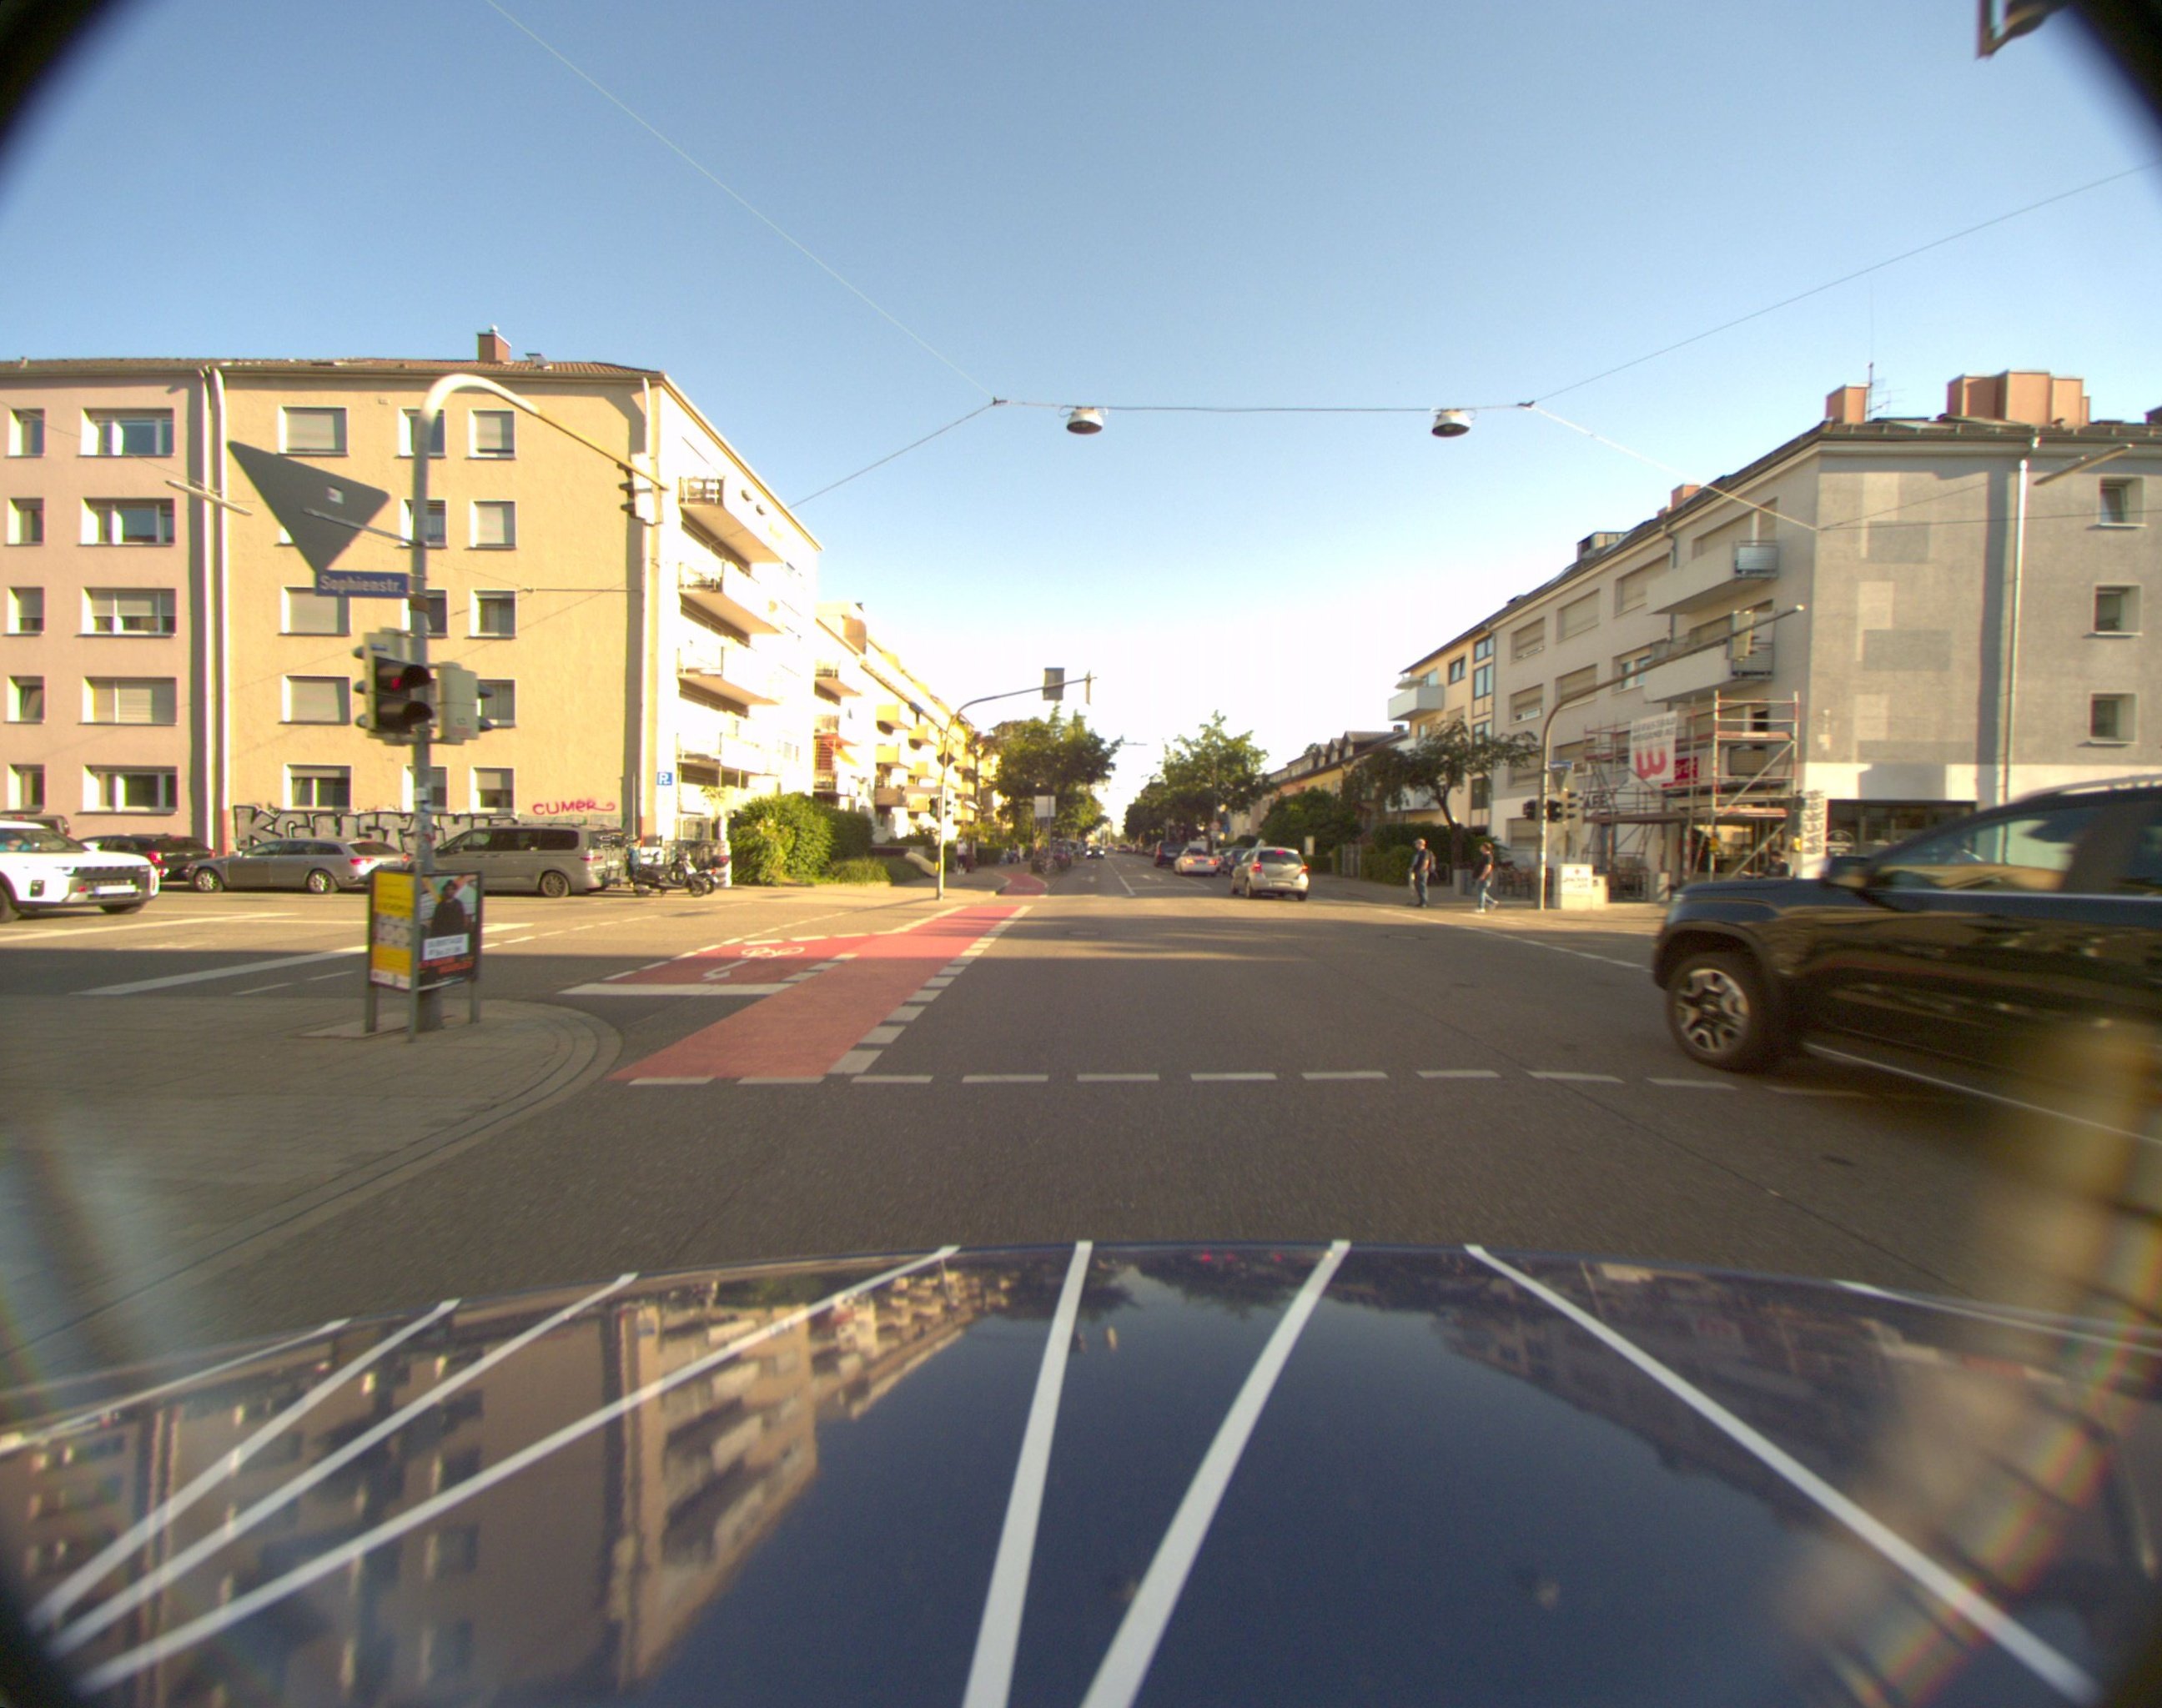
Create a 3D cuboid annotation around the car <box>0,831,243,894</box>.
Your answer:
[{"bbox_3d":[-25.708,0.187,20.358,4.289,1.533,1.952,1,3,0],"label":"car"}]

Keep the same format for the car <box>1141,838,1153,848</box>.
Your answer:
[{"bbox_3d":[10.278,-1.721,118.563,1.642,1.555,3.659,1,1,1],"label":"car"}]

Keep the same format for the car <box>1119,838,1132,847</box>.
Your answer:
[{"bbox_3d":[8.340,-2.172,142.341,1.843,1.605,4.406,0,1,-6],"label":"car"}]

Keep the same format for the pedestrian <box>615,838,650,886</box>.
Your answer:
[{"bbox_3d":[-13.126,0.222,22.240,0.641,1.383,0.594,0,2,0],"label":"pedestrian"}]

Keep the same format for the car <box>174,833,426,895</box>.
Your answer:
[{"bbox_3d":[-20.824,0.228,20.428,4.620,1.533,1.952,1,3,-1],"label":"car"}]

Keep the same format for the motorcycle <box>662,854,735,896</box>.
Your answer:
[{"bbox_3d":[-10.464,0.561,20.828,1.698,1.105,0.594,0,2,2],"label":"motorcycle"}]

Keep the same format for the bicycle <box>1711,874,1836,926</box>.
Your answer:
[{"bbox_3d":[15.652,1.029,17.225,1.996,1.083,0.728,1,0,11],"label":"bicycle"}]

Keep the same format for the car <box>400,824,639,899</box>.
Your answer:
[{"bbox_3d":[-14.796,0.151,20.245,4.841,1.856,1.952,1,3,-1],"label":"car"}]

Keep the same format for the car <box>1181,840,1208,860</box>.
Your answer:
[{"bbox_3d":[9.460,-0.394,63.456,1.734,1.605,4.196,1,1,2],"label":"car"}]

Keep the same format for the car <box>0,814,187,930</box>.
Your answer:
[{"bbox_3d":[-18.571,0.247,12.951,4.351,1.827,1.952,1,2,1],"label":"car"}]

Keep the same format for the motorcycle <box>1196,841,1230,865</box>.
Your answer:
[{"bbox_3d":[8.854,-0.088,51.184,1.263,1.526,2.887,0,1,-13],"label":"motorcycle"}]

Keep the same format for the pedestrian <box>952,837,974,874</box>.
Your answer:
[{"bbox_3d":[-5.472,0.048,35.216,0.830,1.673,0.660,2,2,5],"label":"pedestrian"}]

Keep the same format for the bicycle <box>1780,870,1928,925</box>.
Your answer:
[{"bbox_3d":[18.010,0.988,17.782,2.266,1.083,0.729,3,4,20],"label":"bicycle"}]

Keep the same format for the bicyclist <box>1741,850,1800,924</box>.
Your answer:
[{"bbox_3d":[15.624,0.732,17.224,0.671,1.643,0.750,1,1,11],"label":"bicyclist"}]

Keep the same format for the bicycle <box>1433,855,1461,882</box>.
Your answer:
[{"bbox_3d":[14.147,0.552,29.409,0.439,1.009,1.477,1,1,4],"label":"bicycle"}]

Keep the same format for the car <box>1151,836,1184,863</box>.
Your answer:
[{"bbox_3d":[6.095,-0.347,54.000,1.842,1.866,4.408,1,1,0],"label":"car"}]

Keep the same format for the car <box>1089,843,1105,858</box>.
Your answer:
[{"bbox_3d":[1.736,-0.429,82.692,1.641,1.482,4.414,2,1,1],"label":"car"}]

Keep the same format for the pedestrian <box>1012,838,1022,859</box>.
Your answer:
[{"bbox_3d":[-5.141,-0.477,61.168,0.659,1.673,0.831,2,2,6],"label":"pedestrian"}]

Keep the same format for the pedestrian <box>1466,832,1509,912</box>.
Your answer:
[{"bbox_3d":[10.477,0.442,19.607,0.645,2.003,0.814,0,3,2],"label":"pedestrian"}]

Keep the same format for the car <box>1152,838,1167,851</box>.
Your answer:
[{"bbox_3d":[10.315,-1.239,99.930,1.692,1.657,3.659,1,1,1],"label":"car"}]

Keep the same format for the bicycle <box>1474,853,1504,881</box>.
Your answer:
[{"bbox_3d":[15.650,0.491,29.166,0.439,1.009,1.477,1,1,4],"label":"bicycle"}]

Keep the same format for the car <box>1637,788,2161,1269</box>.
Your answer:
[{"bbox_3d":[5.053,0.692,3.008,1.866,1.819,5.226,2,1,1],"label":"car"}]

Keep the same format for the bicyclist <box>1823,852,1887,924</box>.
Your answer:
[{"bbox_3d":[18.059,0.784,17.750,0.687,1.586,0.751,3,4,20],"label":"bicyclist"}]

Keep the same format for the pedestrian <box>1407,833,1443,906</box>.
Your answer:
[{"bbox_3d":[9.568,0.423,21.152,0.639,2.002,0.739,1,2,2],"label":"pedestrian"}]

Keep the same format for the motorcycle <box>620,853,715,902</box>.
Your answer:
[{"bbox_3d":[-10.723,0.592,19.768,1.992,1.194,0.774,0,2,-11],"label":"motorcycle"}]

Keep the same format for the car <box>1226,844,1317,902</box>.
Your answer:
[{"bbox_3d":[5.588,0.497,22.814,1.809,1.548,3.999,1,1,2],"label":"car"}]

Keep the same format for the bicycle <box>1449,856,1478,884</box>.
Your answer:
[{"bbox_3d":[14.753,0.590,29.355,0.439,1.009,1.477,1,1,4],"label":"bicycle"}]

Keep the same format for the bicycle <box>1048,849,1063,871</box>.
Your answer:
[{"bbox_3d":[-1.410,0.323,42.821,0.324,1.138,1.802,1,1,15],"label":"bicycle"}]

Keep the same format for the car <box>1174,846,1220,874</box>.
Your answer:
[{"bbox_3d":[5.988,0.258,39.539,1.845,1.312,4.441,1,1,2],"label":"car"}]

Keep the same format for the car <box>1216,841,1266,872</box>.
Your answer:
[{"bbox_3d":[8.790,0.111,42.059,1.810,1.605,3.950,1,1,-2],"label":"car"}]

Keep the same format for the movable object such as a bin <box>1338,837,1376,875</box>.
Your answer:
[{"bbox_3d":[12.890,0.087,35.512,1.309,1.649,1.180,-3,2,1],"label":"movable object such as a bin"}]

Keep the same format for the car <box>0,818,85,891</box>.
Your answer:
[{"bbox_3d":[-30.531,-0.018,20.353,5.074,1.896,1.952,1,2,0],"label":"car"}]

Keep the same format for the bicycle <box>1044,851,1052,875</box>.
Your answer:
[{"bbox_3d":[-1.649,0.416,37.959,0.325,1.138,1.799,0,1,-4],"label":"bicycle"}]

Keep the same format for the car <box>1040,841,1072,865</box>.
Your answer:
[{"bbox_3d":[-1.596,-0.091,49.804,1.744,1.509,3.810,1,1,3],"label":"car"}]

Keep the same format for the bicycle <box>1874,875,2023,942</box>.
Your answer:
[{"bbox_3d":[15.744,0.982,13.814,1.999,1.159,0.727,1,0,-5],"label":"bicycle"}]

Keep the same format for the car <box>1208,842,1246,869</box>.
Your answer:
[{"bbox_3d":[8.917,0.045,46.646,1.755,1.526,3.571,1,1,3],"label":"car"}]

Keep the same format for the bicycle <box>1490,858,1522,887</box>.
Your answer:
[{"bbox_3d":[16.266,0.699,29.121,0.439,1.009,1.477,1,1,4],"label":"bicycle"}]

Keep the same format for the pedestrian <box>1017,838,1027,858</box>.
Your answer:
[{"bbox_3d":[-4.885,-0.512,63.118,0.659,1.673,0.831,2,2,6],"label":"pedestrian"}]
